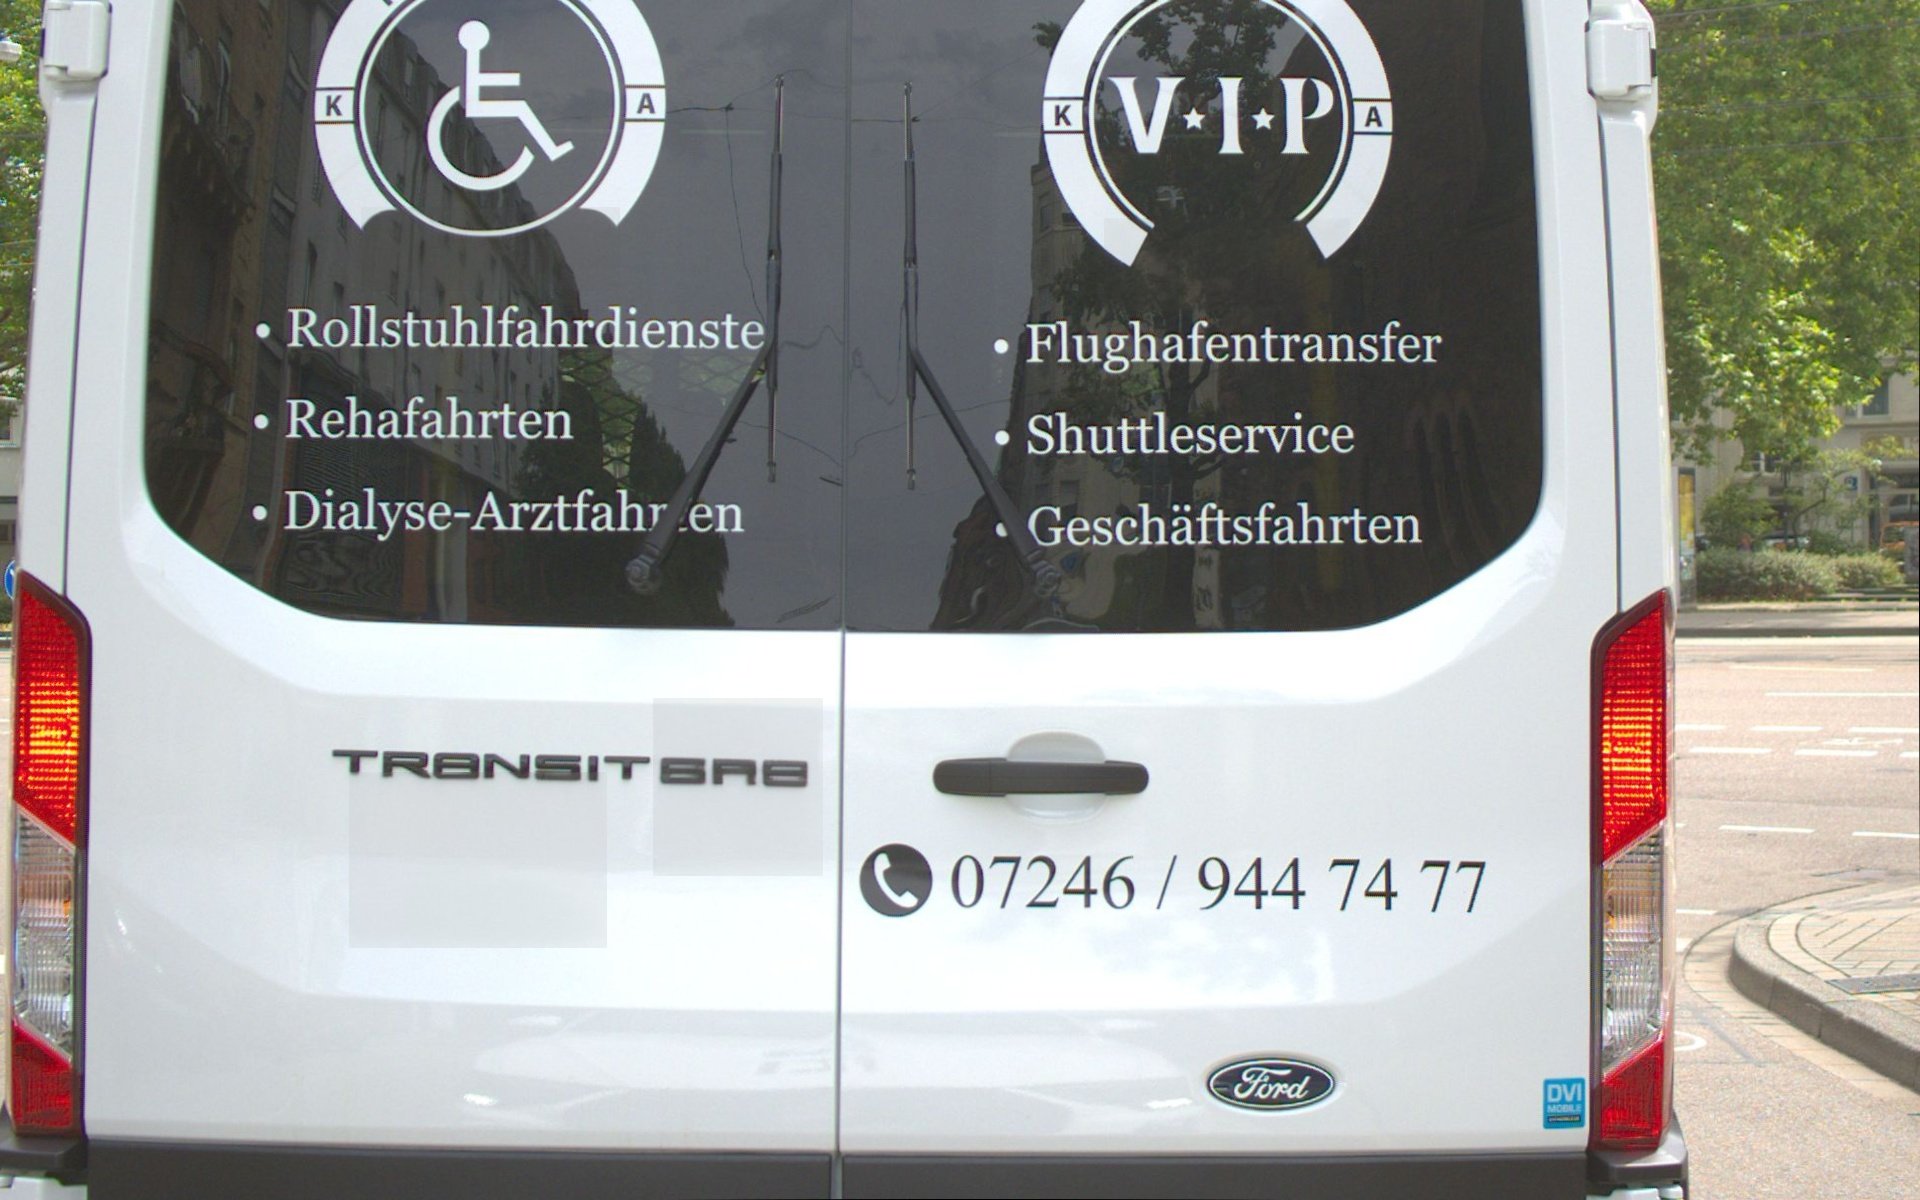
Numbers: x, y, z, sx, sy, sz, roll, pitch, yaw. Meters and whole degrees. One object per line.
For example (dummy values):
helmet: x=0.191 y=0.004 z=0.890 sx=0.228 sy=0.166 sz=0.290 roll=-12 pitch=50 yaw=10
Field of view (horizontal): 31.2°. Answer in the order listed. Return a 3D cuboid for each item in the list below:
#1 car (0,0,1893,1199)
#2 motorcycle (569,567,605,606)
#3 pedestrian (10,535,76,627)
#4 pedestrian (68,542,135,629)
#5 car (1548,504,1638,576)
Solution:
car: x=-0.221 y=0.045 z=5.779 sx=2.181 sy=2.638 sz=4.629 roll=0 pitch=2 yaw=-2
motorcycle: x=-9.817 y=-0.356 z=90.446 sx=0.683 sy=0.968 sz=2.324 roll=-1 pitch=1 yaw=0
pedestrian: x=-15.829 y=-0.326 z=59.373 sx=0.808 sy=1.567 sz=0.722 roll=0 pitch=1 yaw=33
pedestrian: x=-15.124 y=-0.260 z=60.535 sx=0.932 sy=1.509 sz=0.722 roll=0 pitch=1 yaw=42
car: x=17.446 y=-1.664 z=94.926 sx=1.994 sy=1.924 sz=4.000 roll=-1 pitch=1 yaw=4
